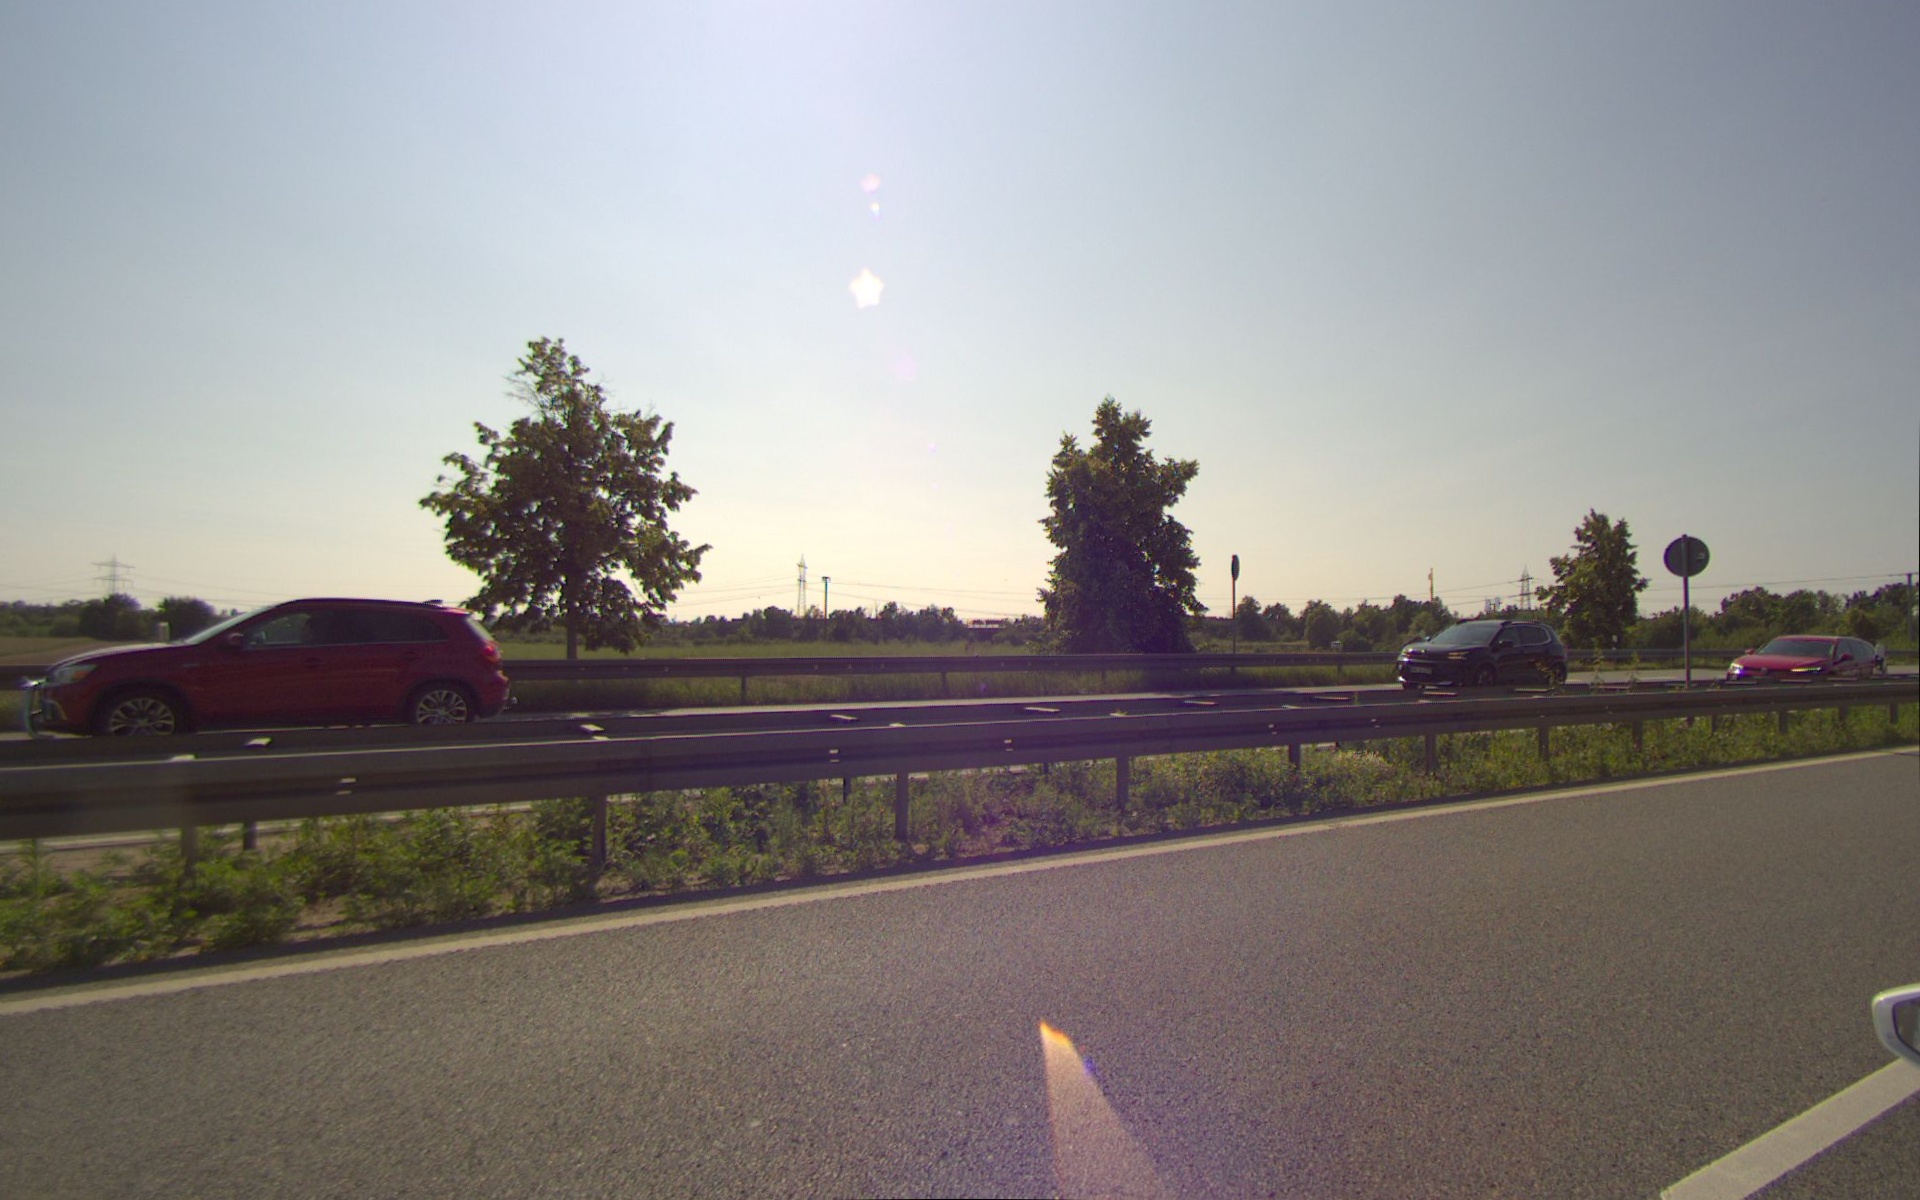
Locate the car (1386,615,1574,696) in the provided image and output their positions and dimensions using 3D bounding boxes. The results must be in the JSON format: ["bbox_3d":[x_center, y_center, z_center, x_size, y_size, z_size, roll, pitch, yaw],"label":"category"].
[{"bbox_3d":[11.553,1.210,22.268,4.172,1.617,1.718,2,0,-30],"label":"car"}]

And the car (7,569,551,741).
[{"bbox_3d":[-7.305,0.564,11.386,4.717,1.614,1.834,2,0,-30],"label":"car"}]

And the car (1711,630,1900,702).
[{"bbox_3d":[20.186,1.544,23.918,5.036,1.513,1.867,2,-1,-30],"label":"car"}]
